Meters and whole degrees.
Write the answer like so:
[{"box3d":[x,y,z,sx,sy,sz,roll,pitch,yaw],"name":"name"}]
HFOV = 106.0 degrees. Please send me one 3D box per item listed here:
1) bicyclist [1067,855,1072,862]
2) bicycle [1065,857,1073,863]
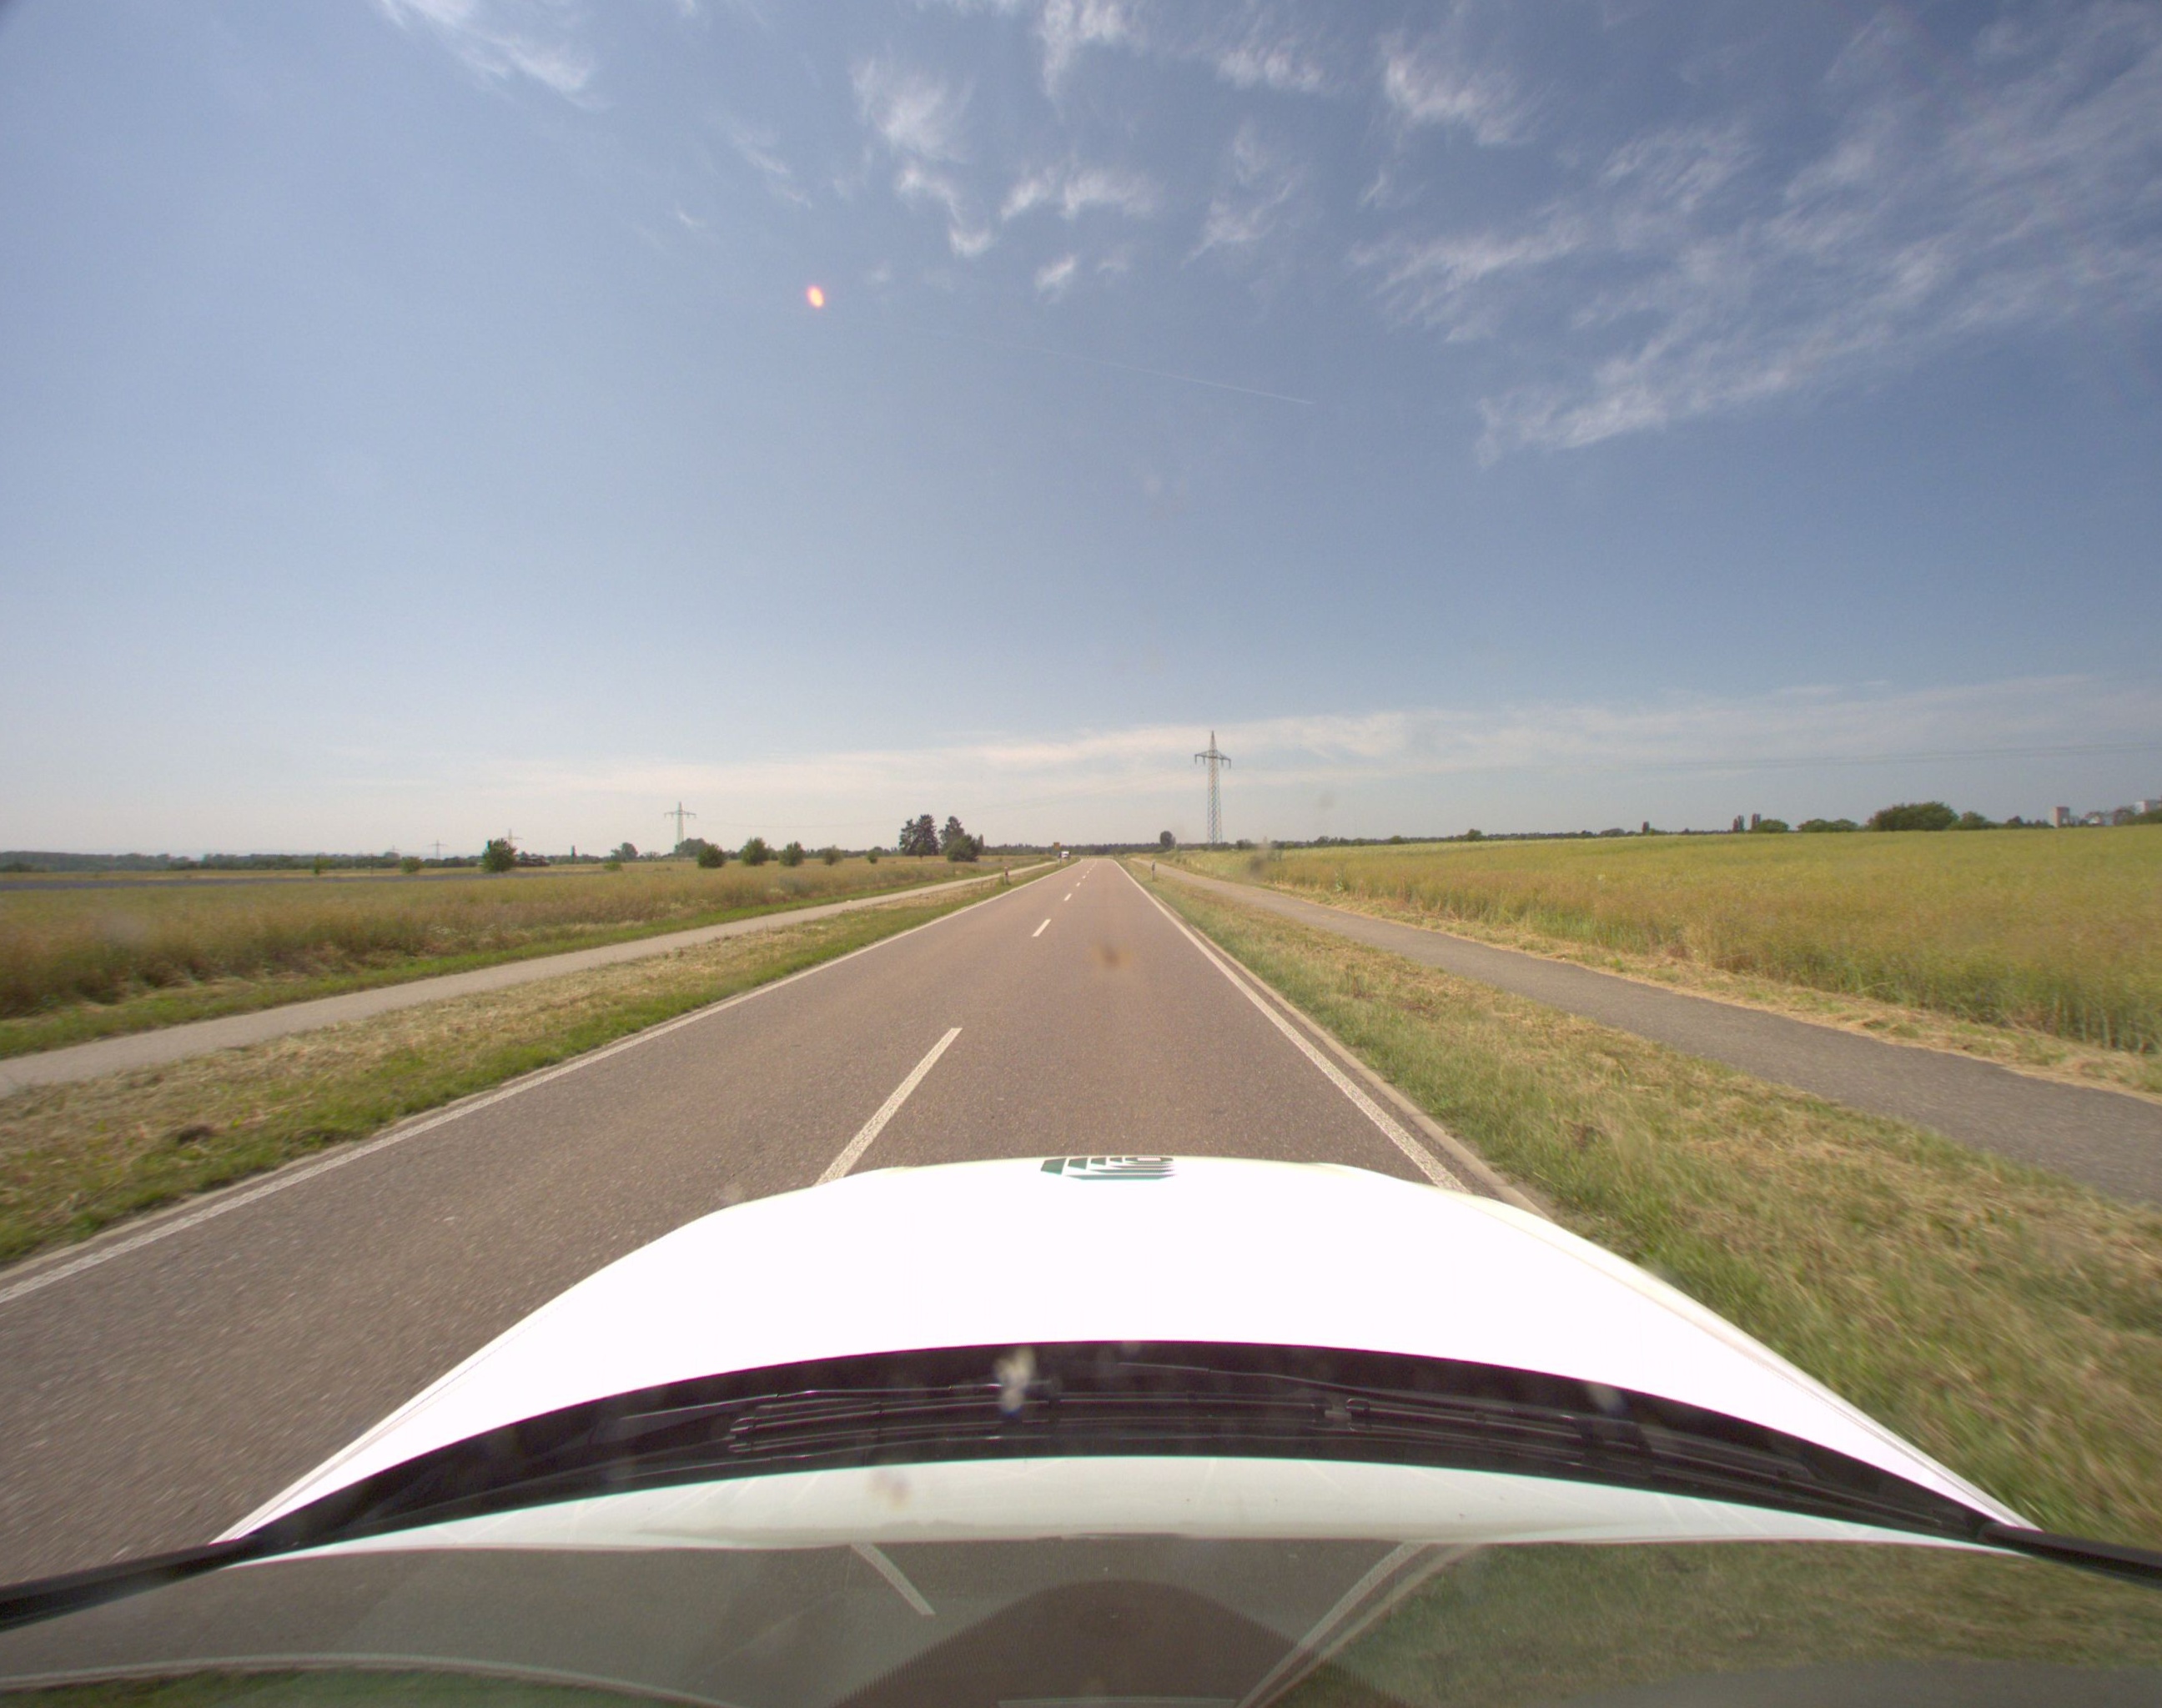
[{"box3d":[-2.521,0.980,173.855,0.695,1.331,0.971,-2,0,26],"name":"bicyclist"},{"box3d":[-2.486,1.313,173.882,0.755,1.229,2.228,-2,0,25],"name":"bicycle"}]
